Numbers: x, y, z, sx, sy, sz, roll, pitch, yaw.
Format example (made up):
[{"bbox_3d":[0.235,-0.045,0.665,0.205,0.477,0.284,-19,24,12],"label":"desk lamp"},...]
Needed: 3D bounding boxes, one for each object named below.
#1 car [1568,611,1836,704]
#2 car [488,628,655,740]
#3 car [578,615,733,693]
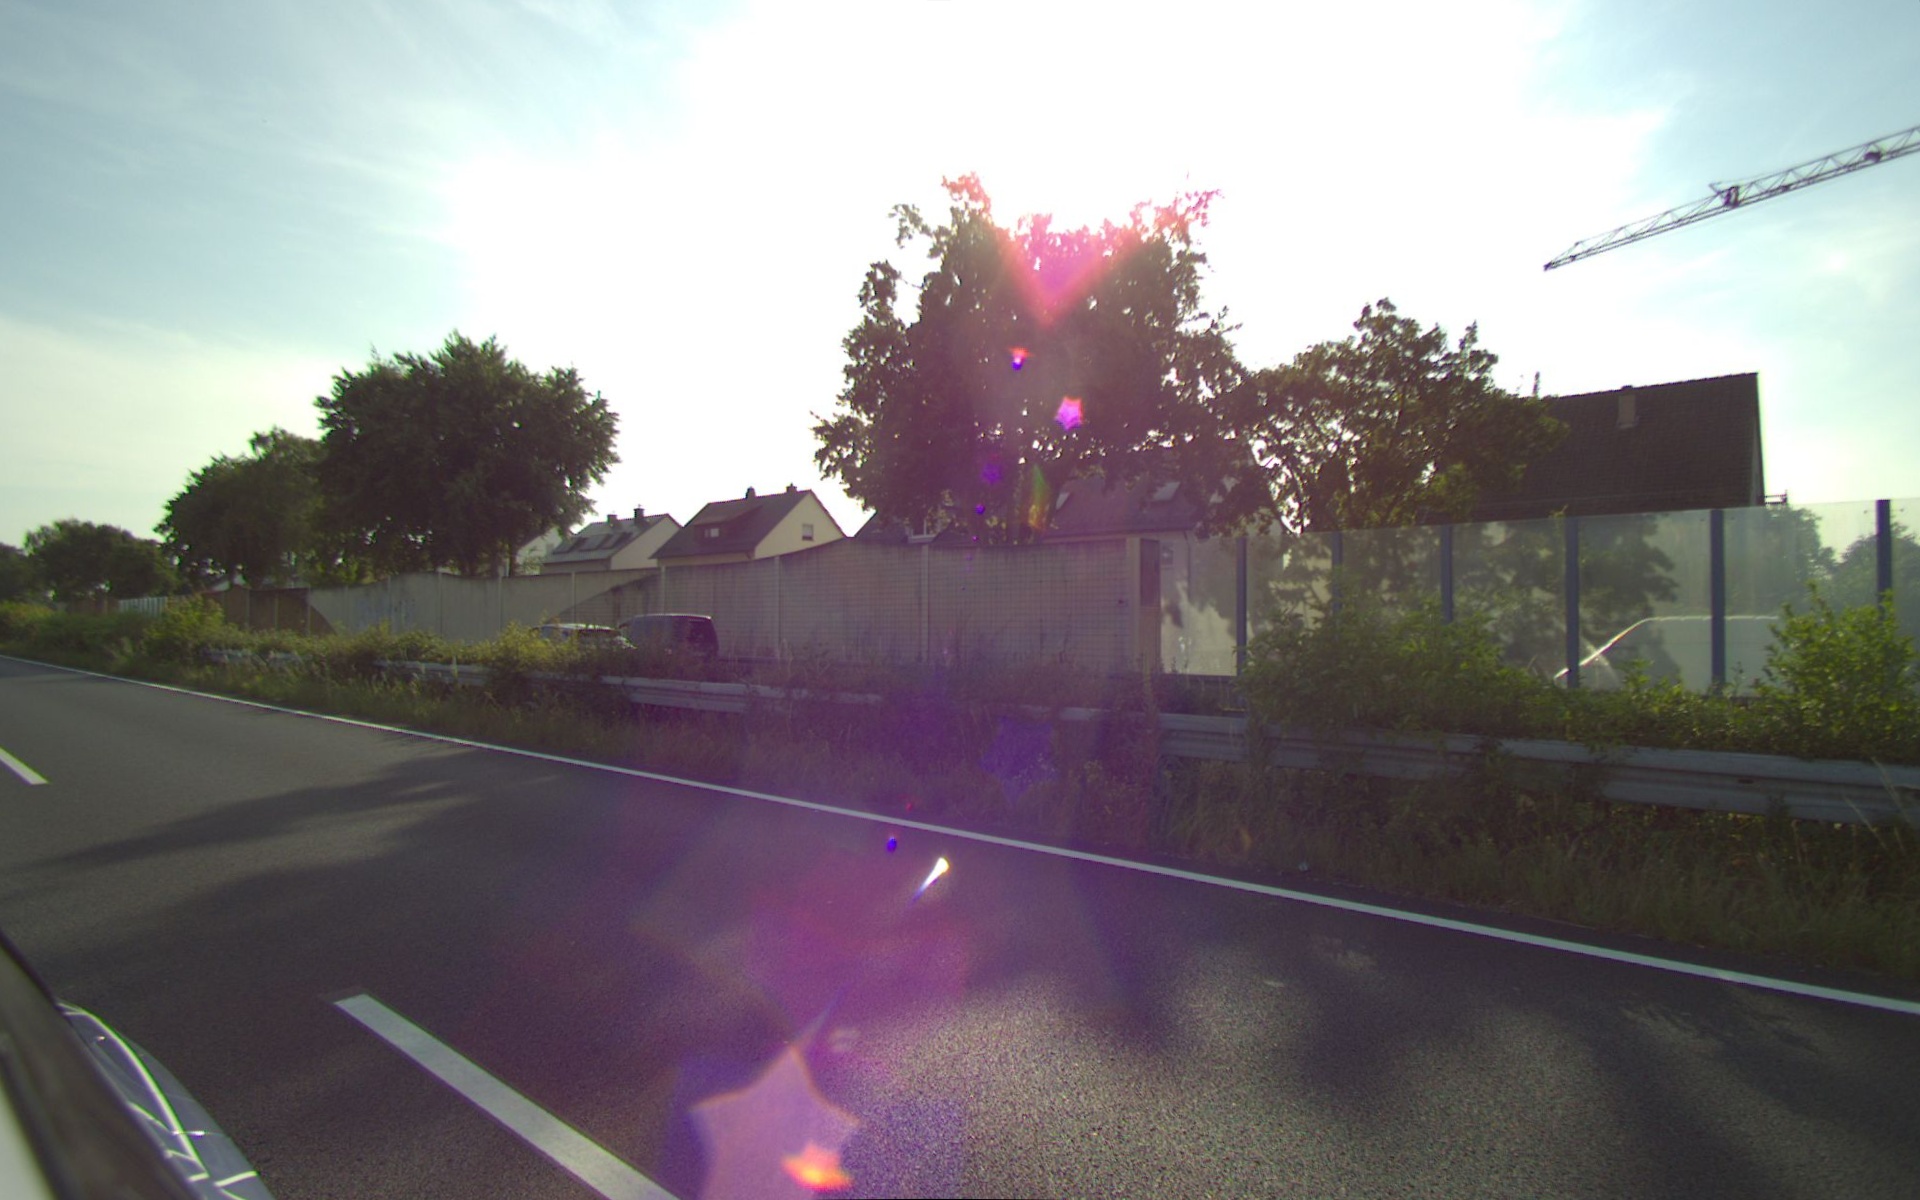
[{"bbox_3d":[17.252,1.241,23.705,4.912,1.933,1.767,-1,0,41],"label":"car"},{"bbox_3d":[-8.058,1.639,20.903,3.489,2.029,1.790,-1,0,41],"label":"car"},{"bbox_3d":[-7.932,1.317,26.180,4.298,1.808,1.818,-1,0,41],"label":"car"}]
